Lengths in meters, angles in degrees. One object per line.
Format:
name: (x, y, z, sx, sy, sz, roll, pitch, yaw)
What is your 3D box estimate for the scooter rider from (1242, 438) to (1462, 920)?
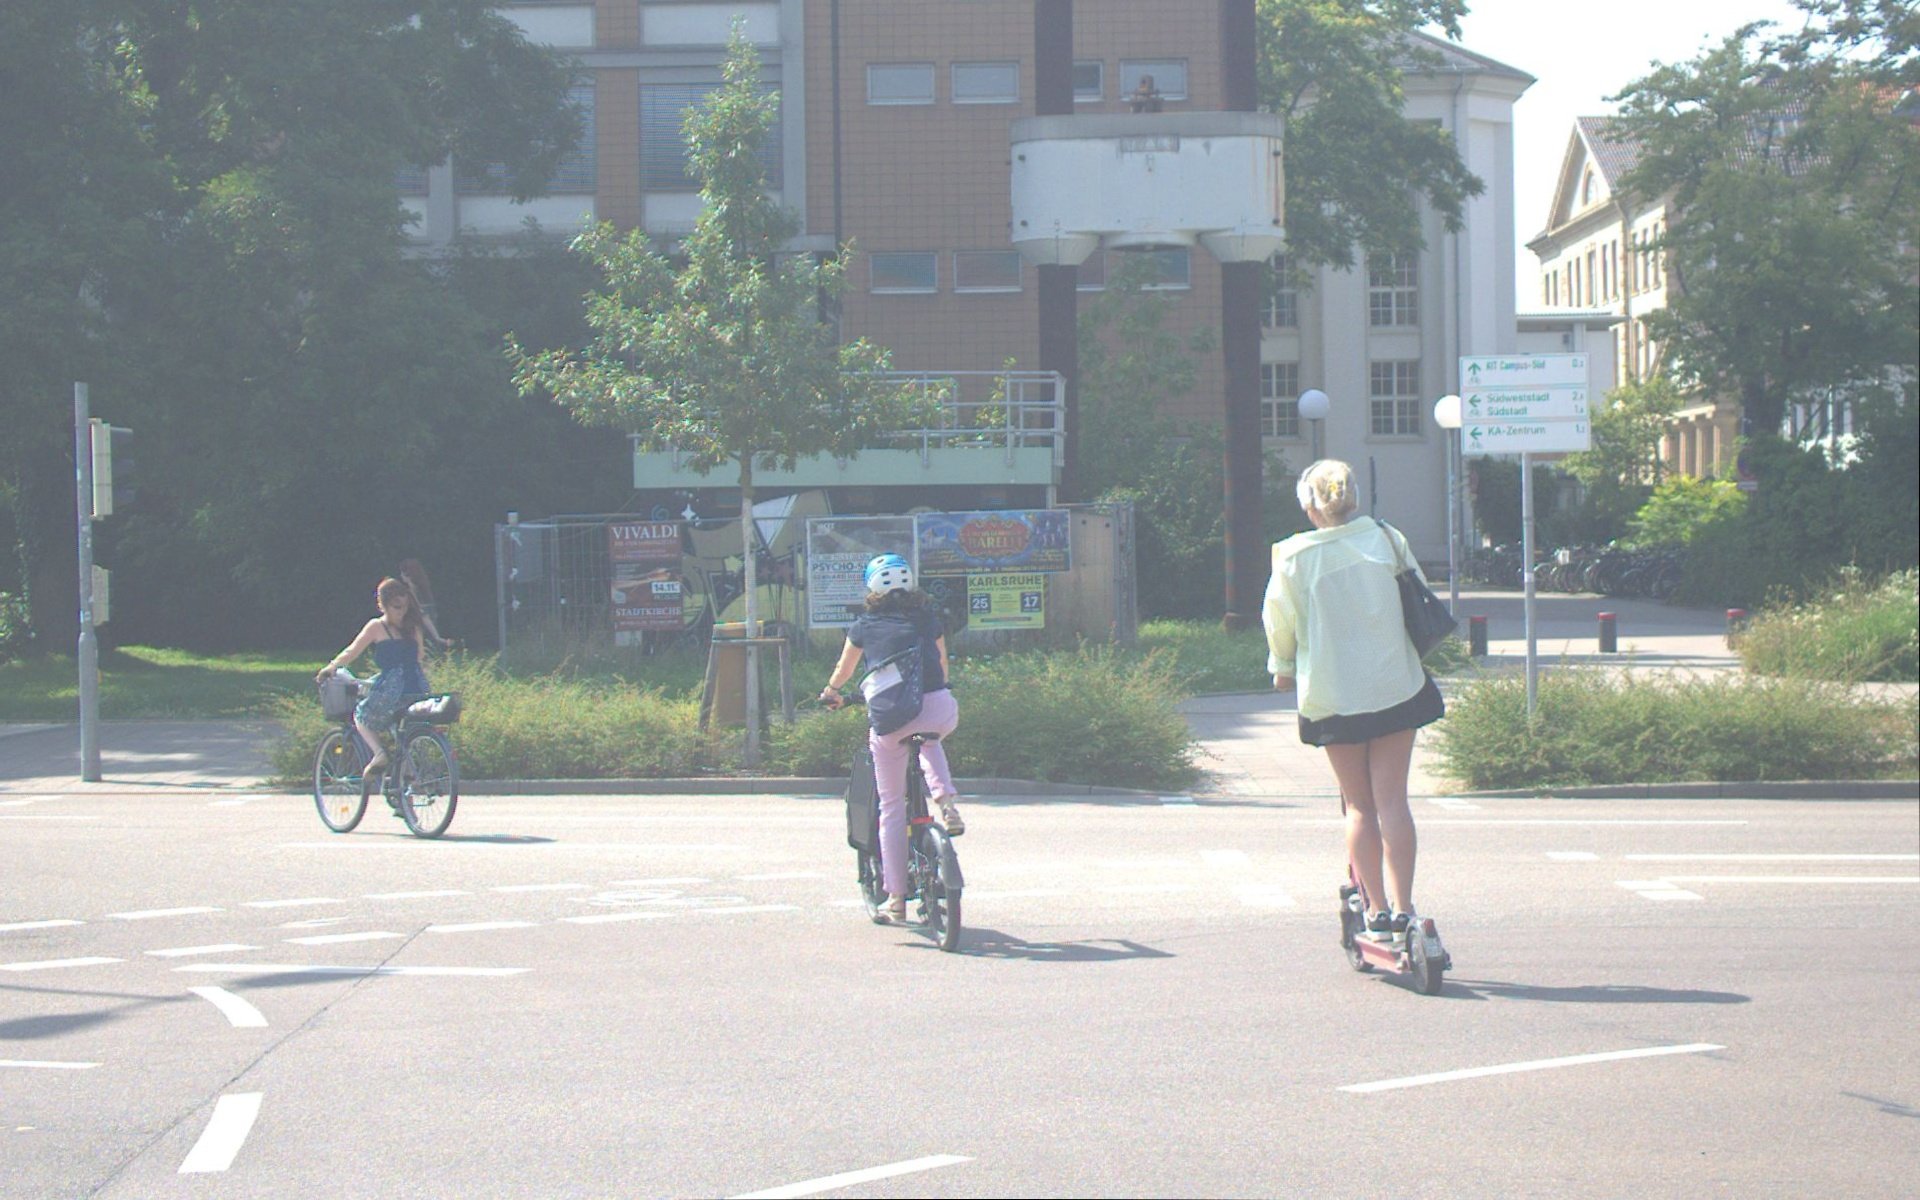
scooter rider: (1.411, 0.278, 12.448, 0.670, 1.694, 0.539, -1, 0, -4)

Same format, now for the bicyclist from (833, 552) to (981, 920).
bicyclist: (-0.230, 0.560, 14.417, 0.548, 1.491, 0.804, -1, -1, -4)

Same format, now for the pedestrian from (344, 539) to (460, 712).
pedestrian: (-5.624, 0.248, 34.657, 0.877, 1.698, 0.707, -1, 3, 18)

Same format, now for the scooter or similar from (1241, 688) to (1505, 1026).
scooter or similar: (1.439, 0.869, 12.290, 0.556, 1.056, 2.004, -1, 0, -4)

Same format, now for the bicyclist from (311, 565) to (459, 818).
bicyclist: (-3.815, 0.587, 22.782, 0.690, 1.593, 0.844, -3, 3, -27)

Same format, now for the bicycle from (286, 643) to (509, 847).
bicycle: (-3.738, 0.921, 22.682, 0.693, 1.151, 2.372, -3, 3, -28)

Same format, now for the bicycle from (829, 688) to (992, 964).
bicycle: (-0.233, 0.918, 14.588, 0.556, 1.056, 2.004, -1, -1, -4)
